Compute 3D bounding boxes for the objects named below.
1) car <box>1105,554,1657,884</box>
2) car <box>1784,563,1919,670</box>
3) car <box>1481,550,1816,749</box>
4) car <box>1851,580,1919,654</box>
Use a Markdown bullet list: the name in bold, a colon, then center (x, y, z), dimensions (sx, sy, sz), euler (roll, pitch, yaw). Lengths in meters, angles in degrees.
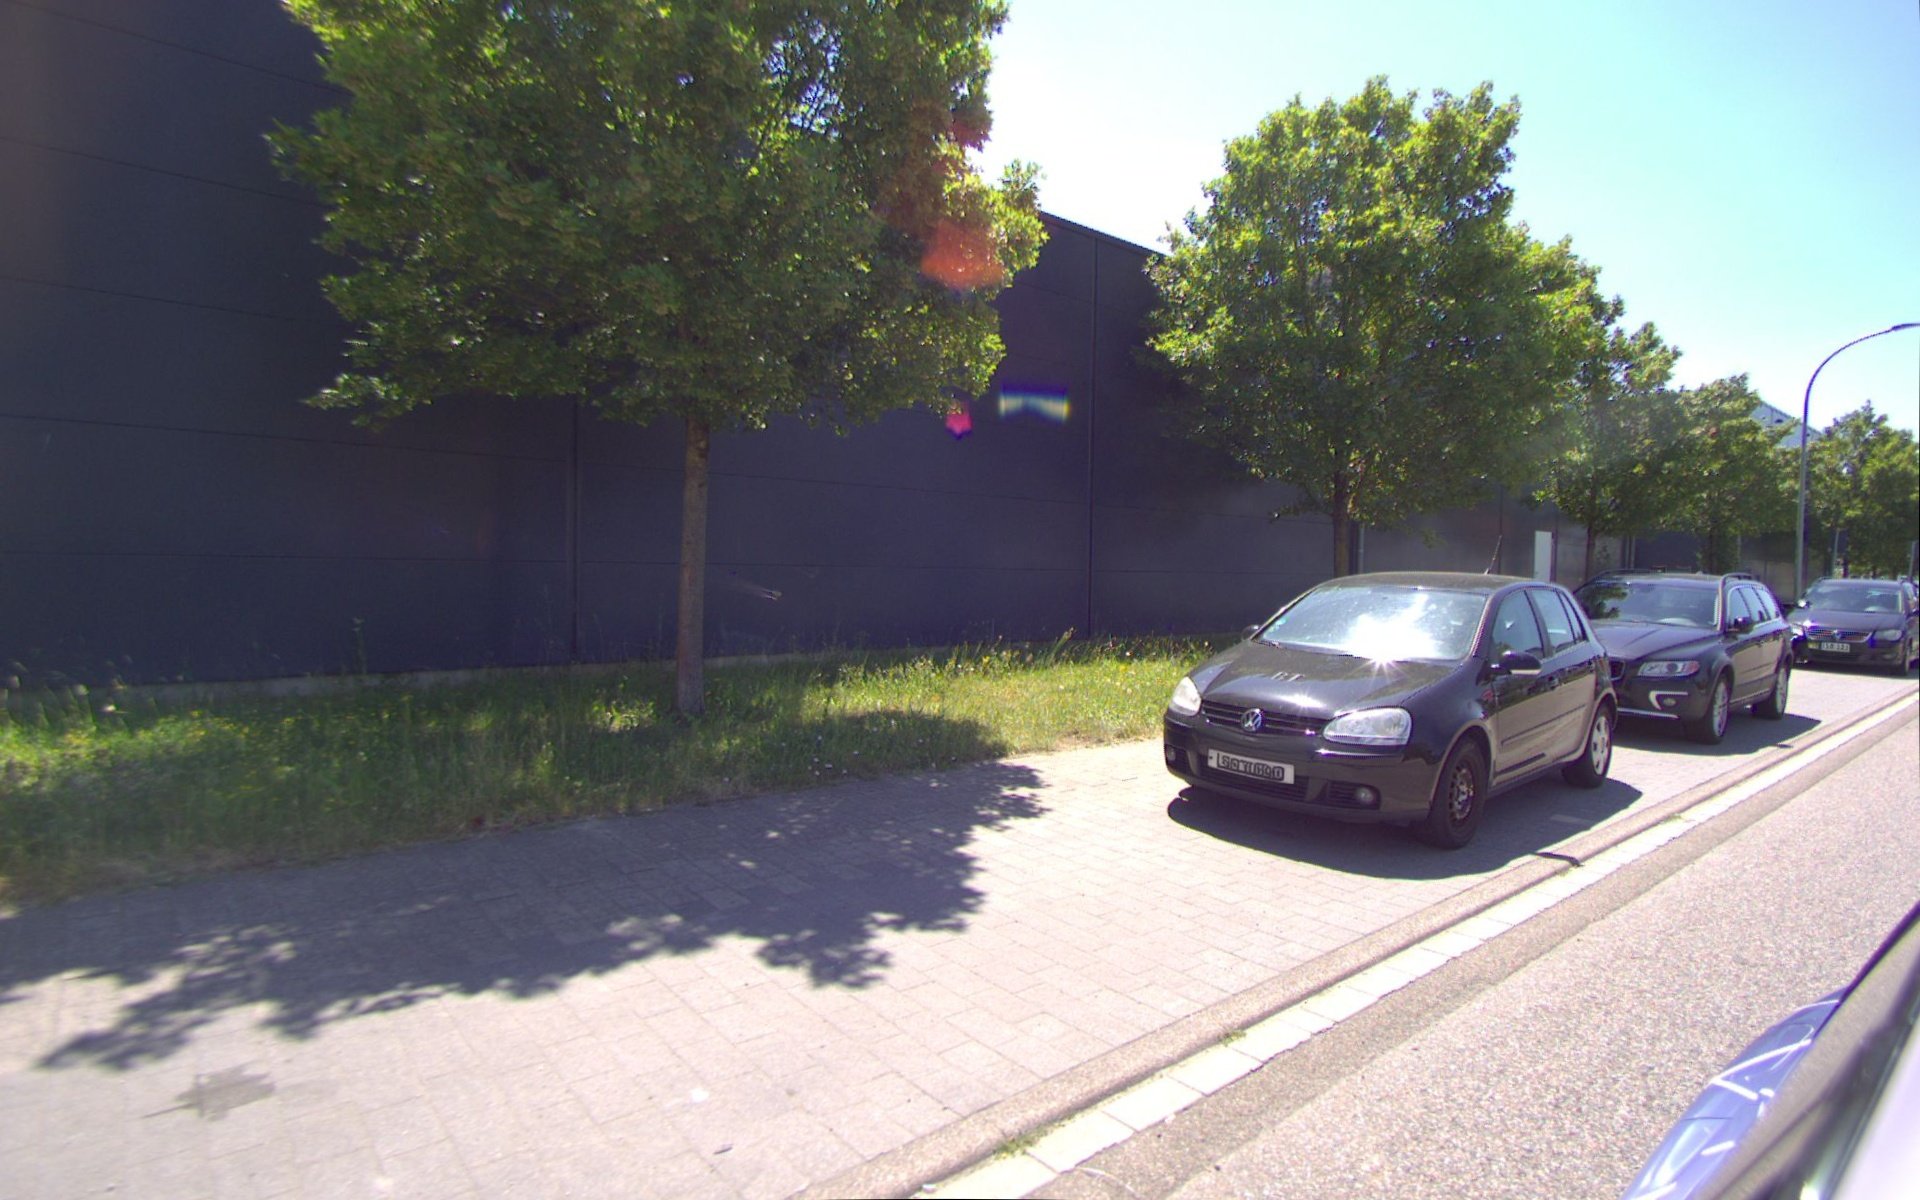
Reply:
- **car**: center (3.002, 0.508, 6.739), dimensions (4.195, 1.494, 1.695), euler (-1, 4, -42)
- **car**: center (16.627, 0.228, 18.465), dimensions (4.292, 1.690, 1.741), euler (-1, 3, -42)
- **car**: center (7.454, 0.369, 10.757), dimensions (4.633, 1.637, 1.811), euler (-1, 4, -42)
- **car**: center (21.204, 0.349, 22.375), dimensions (4.117, 1.475, 1.710), euler (-1, 4, -42)
